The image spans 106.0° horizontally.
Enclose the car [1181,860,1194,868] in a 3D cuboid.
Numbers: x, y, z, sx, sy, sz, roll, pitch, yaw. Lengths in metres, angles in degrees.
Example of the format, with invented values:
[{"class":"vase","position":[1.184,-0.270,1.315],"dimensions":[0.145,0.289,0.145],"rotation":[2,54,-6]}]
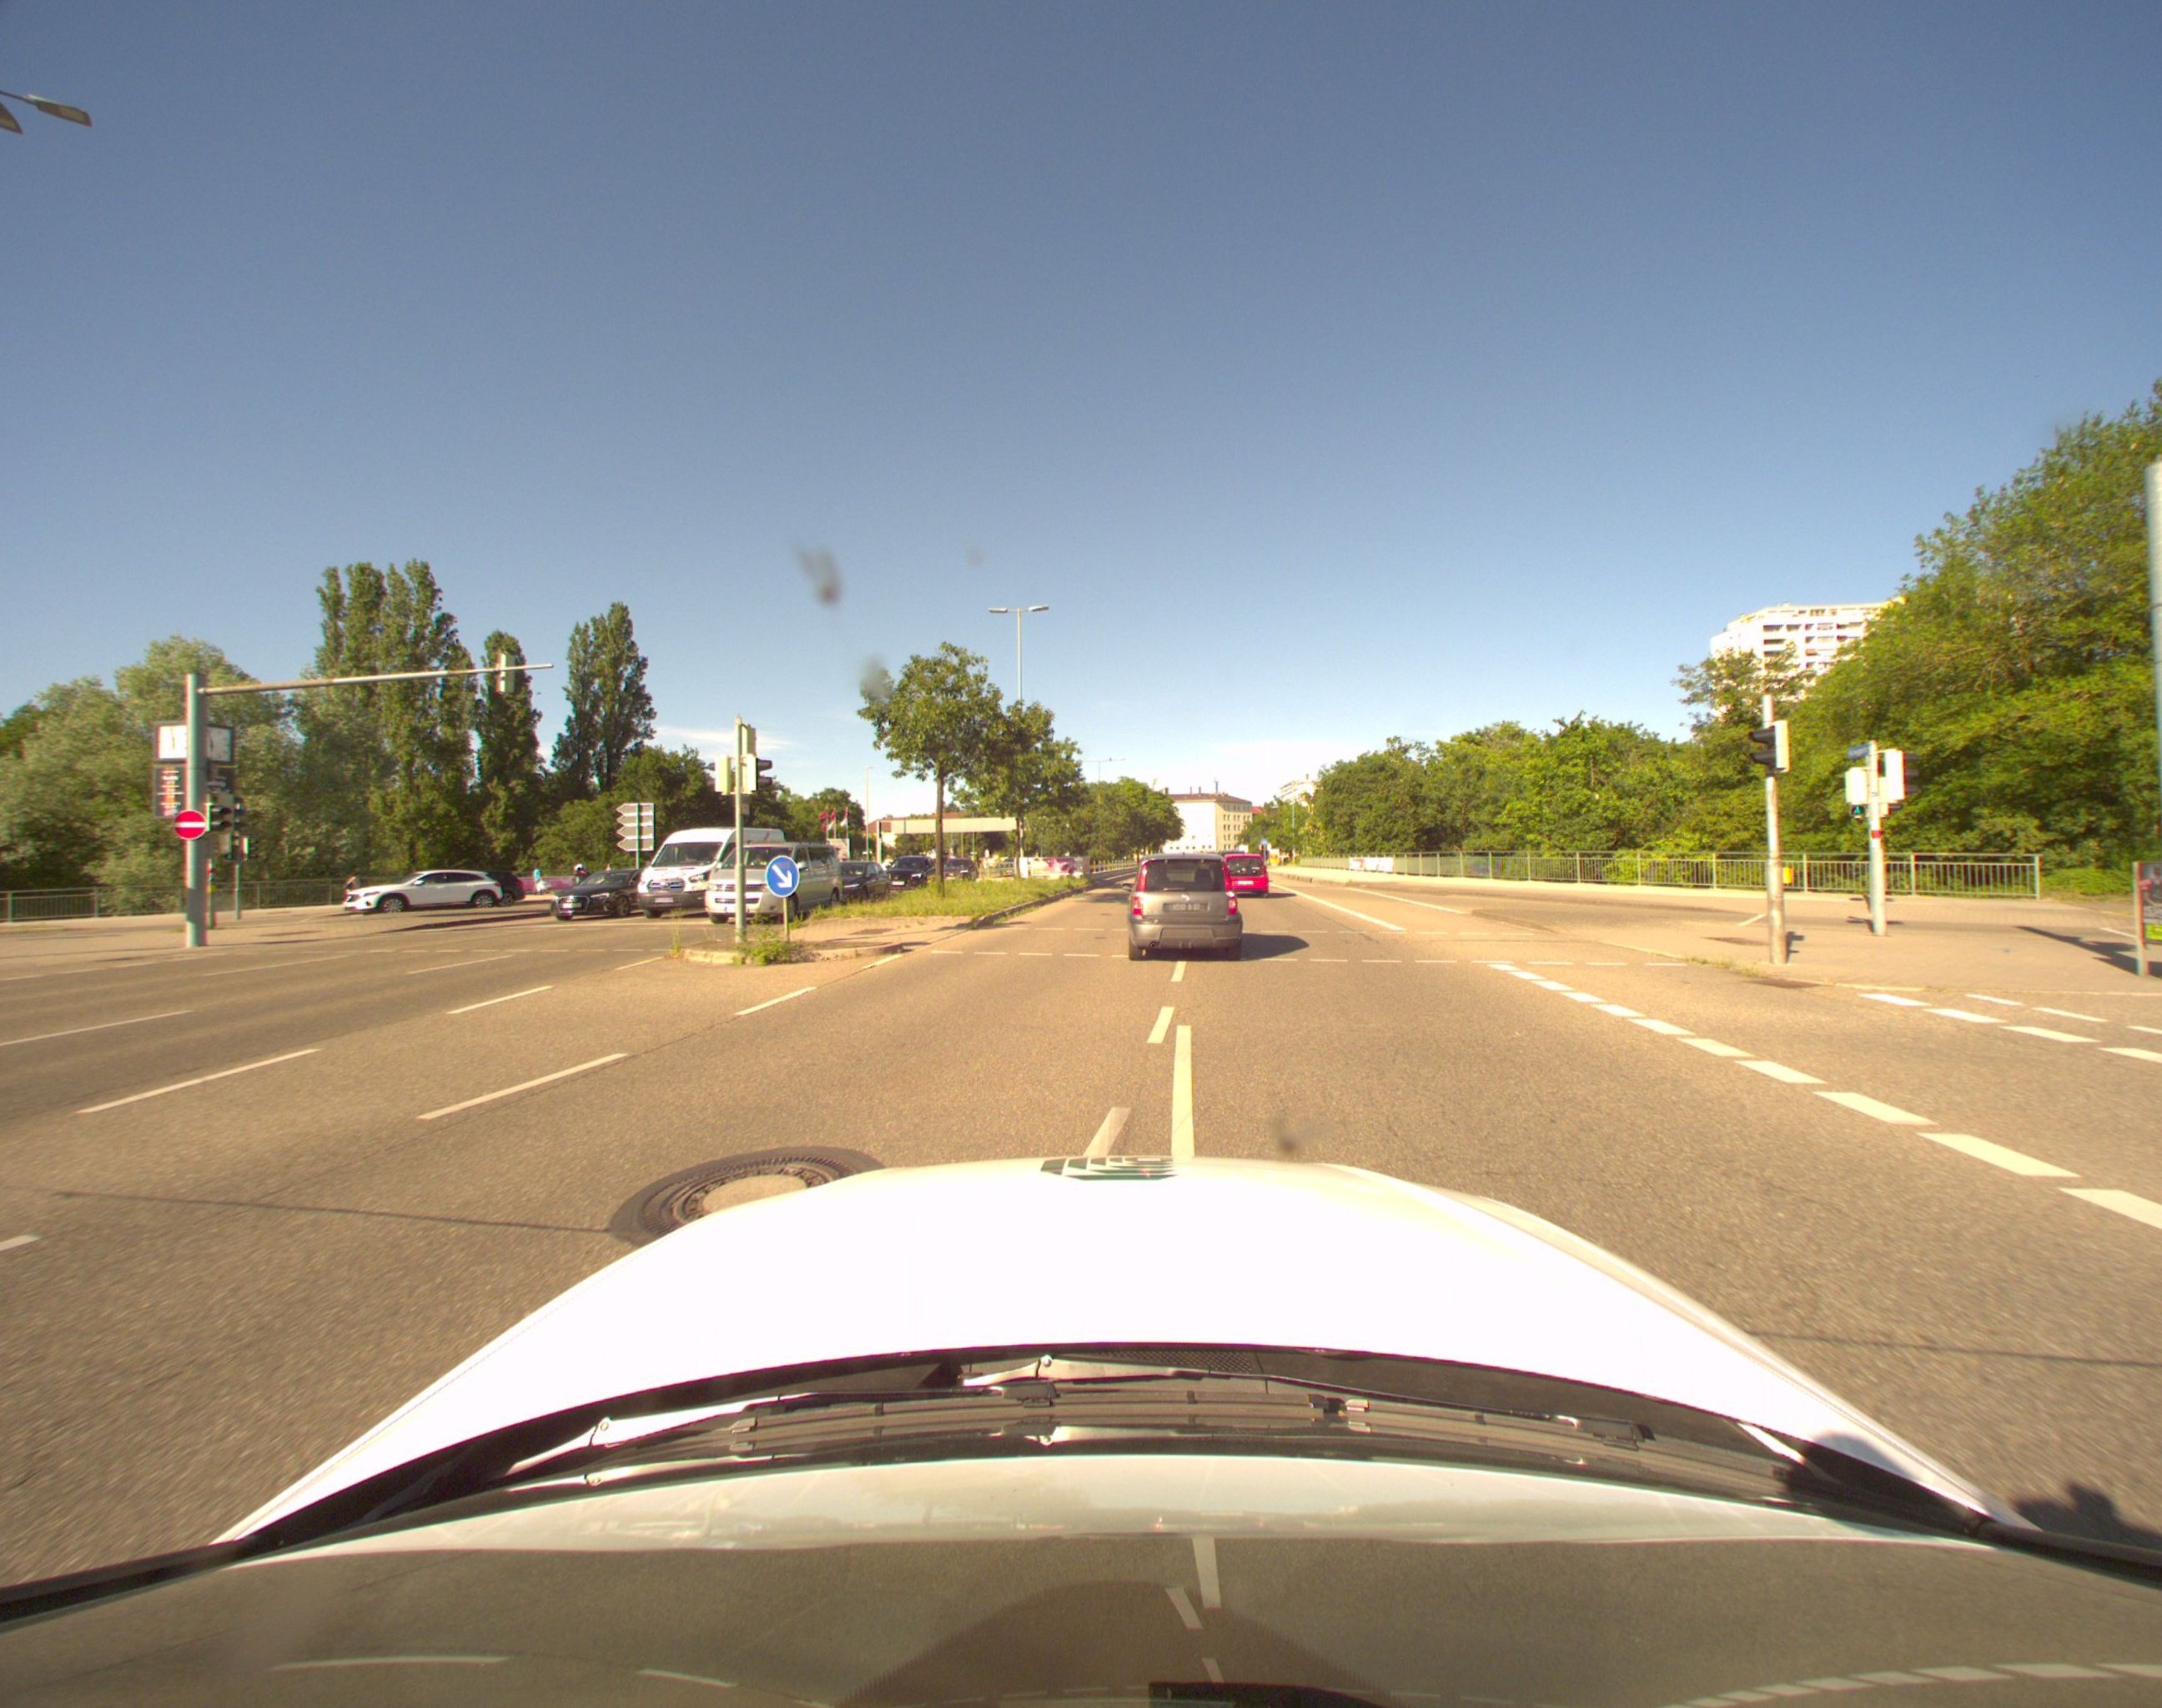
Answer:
[{"class":"car","position":[22.021,2.029,167.820],"dimensions":[1.930,1.528,4.116],"rotation":[-1,0,18]}]

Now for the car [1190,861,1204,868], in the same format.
[{"class":"car","position":[24.990,2.273,175.785],"dimensions":[1.928,1.528,4.120],"rotation":[-1,-1,23]}]

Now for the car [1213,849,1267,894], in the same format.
[{"class":"car","position":[5.505,0.563,28.480],"dimensions":[1.609,1.463,3.758],"rotation":[0,0,7]}]

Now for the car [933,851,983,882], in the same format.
[{"class":"car","position":[-6.934,0.682,46.372],"dimensions":[1.929,1.622,4.508],"rotation":[-1,0,2]}]

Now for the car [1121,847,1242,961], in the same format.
[{"class":"car","position":[1.554,0.666,12.853],"dimensions":[1.609,1.515,3.826],"rotation":[0,0,6]}]

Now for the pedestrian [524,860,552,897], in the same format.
[{"class":"pedestrian","position":[-28.545,1.298,42.832],"dimensions":[0.832,1.917,0.789],"rotation":[0,-3,6]}]

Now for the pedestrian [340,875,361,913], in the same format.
[{"class":"pedestrian","position":[-30.084,1.635,33.528],"dimensions":[0.560,1.547,0.570],"rotation":[-1,-2,-35]}]

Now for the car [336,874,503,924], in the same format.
[{"class":"car","position":[-23.822,1.546,29.507],"dimensions":[1.762,1.535,4.355],"rotation":[0,0,29]}]

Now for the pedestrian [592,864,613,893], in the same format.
[{"class":"pedestrian","position":[-27.247,1.394,46.337],"dimensions":[0.716,1.641,0.673],"rotation":[0,-3,6]}]

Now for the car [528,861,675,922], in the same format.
[{"class":"car","position":[-13.697,1.003,23.587],"dimensions":[1.931,1.507,3.997],"rotation":[-2,0,-2]}]

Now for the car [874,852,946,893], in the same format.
[{"class":"car","position":[-7.224,0.744,34.861],"dimensions":[1.929,1.622,4.508],"rotation":[-1,0,2]}]

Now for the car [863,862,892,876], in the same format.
[{"class":"car","position":[-32.148,2.395,128.697],"dimensions":[4.249,2.014,1.987],"rotation":[-1,-1,-19]}]

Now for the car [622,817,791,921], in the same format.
[{"class":"car","position":[-10.481,0.382,23.495],"dimensions":[1.930,2.576,6.089],"rotation":[-1,0,1]}]

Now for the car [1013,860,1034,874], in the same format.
[{"class":"car","position":[-6.299,1.421,89.906],"dimensions":[1.736,1.500,4.003],"rotation":[-2,-1,3]}]

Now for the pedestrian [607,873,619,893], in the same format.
[{"class":"pedestrian","position":[-26.657,1.667,46.379],"dimensions":[0.421,1.136,0.398],"rotation":[0,-3,6]}]

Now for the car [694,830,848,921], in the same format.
[{"class":"car","position":[-7.647,0.499,20.693],"dimensions":[1.930,2.008,4.932],"rotation":[-1,0,1]}]

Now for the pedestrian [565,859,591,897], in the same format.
[{"class":"pedestrian","position":[-27.126,1.288,43.942],"dimensions":[0.802,1.997,0.789],"rotation":[0,-3,6]}]

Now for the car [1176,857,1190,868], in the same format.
[{"class":"car","position":[14.794,1.227,117.926],"dimensions":[1.934,1.528,4.107],"rotation":[-1,0,8]}]

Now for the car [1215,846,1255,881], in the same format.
[{"class":"car","position":[8.425,0.533,44.864],"dimensions":[1.935,1.840,4.161],"rotation":[1,-1,7]}]

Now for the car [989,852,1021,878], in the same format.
[{"class":"car","position":[-6.230,0.868,67.387],"dimensions":[1.985,2.014,4.337],"rotation":[-2,-1,3]}]

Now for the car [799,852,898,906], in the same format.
[{"class":"car","position":[-7.680,0.775,27.373],"dimensions":[1.930,1.622,4.506],"rotation":[-1,0,1]}]
